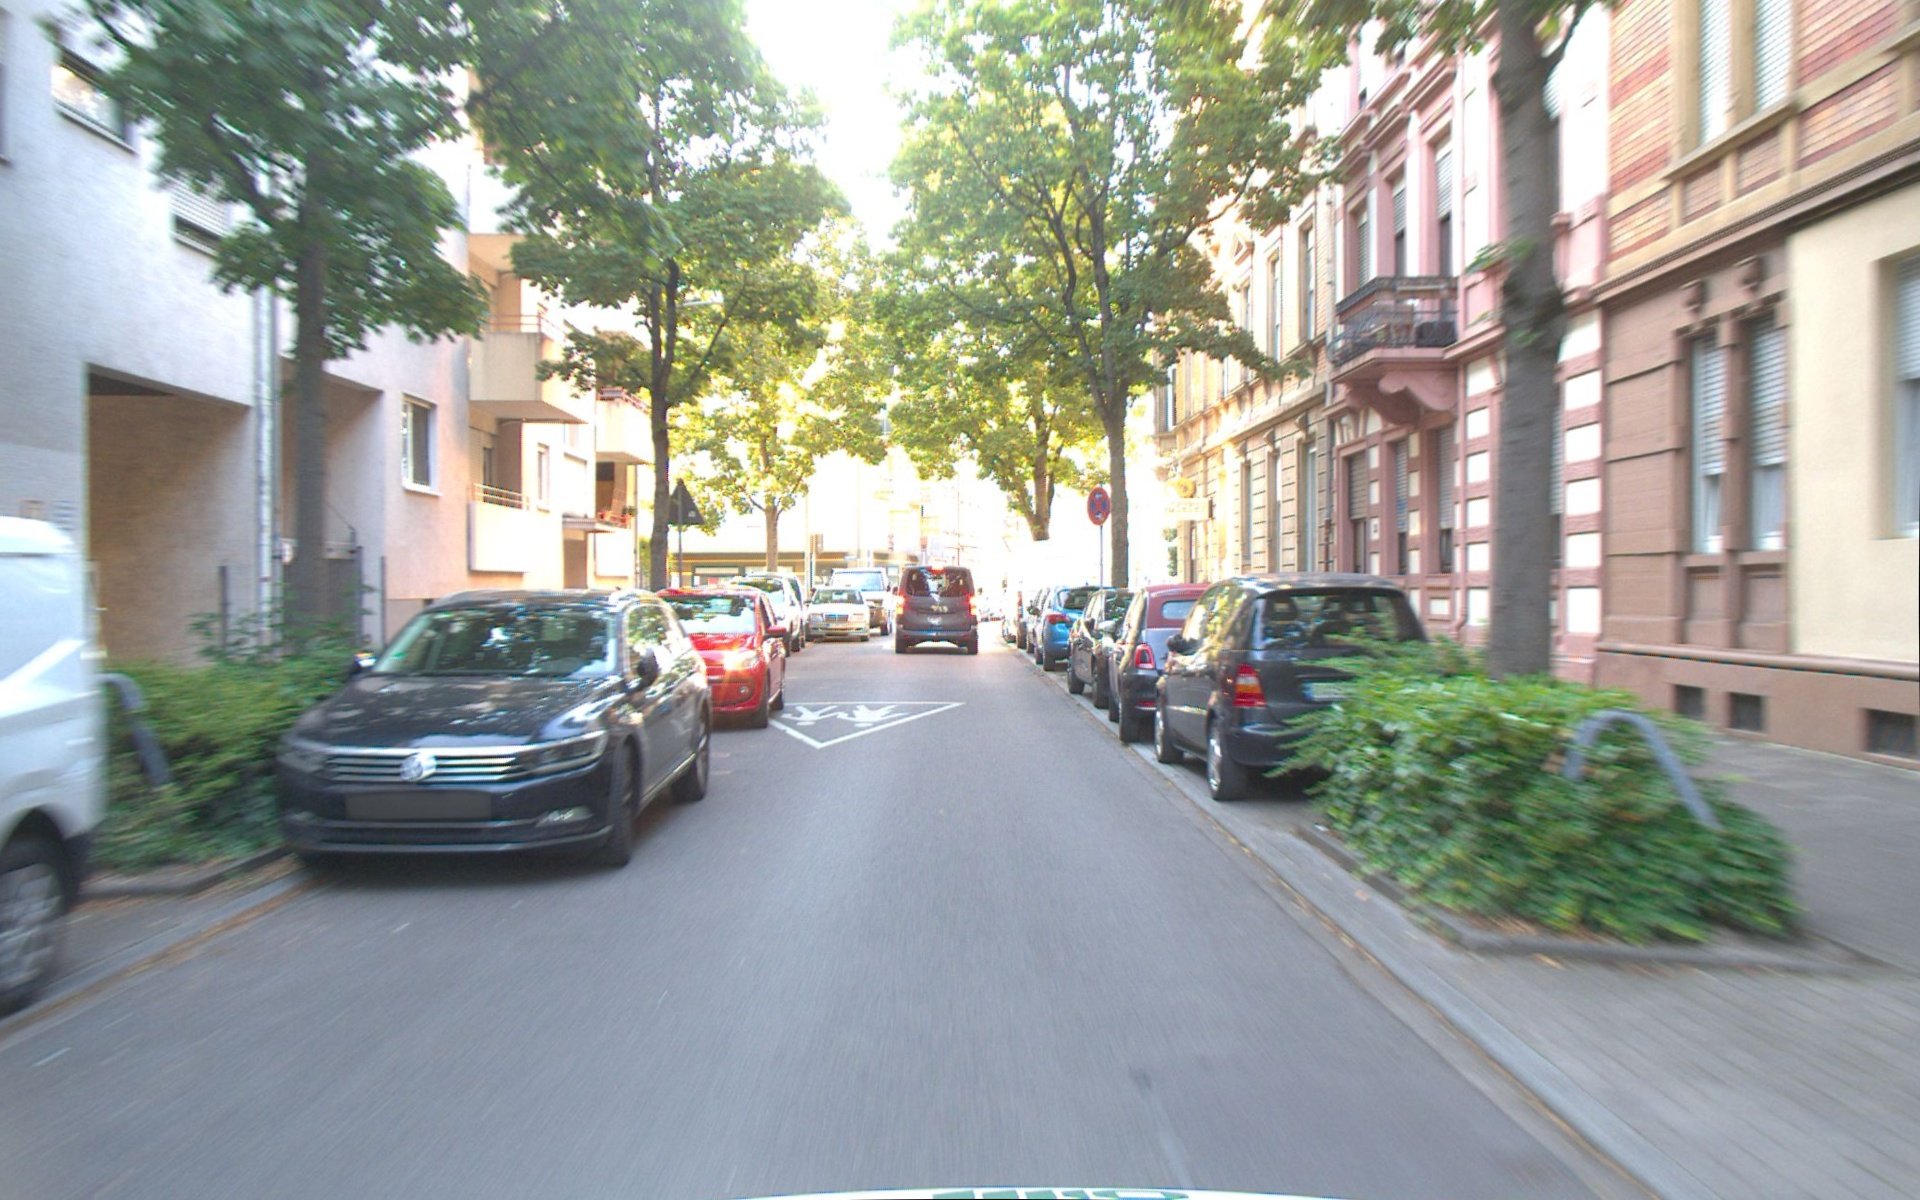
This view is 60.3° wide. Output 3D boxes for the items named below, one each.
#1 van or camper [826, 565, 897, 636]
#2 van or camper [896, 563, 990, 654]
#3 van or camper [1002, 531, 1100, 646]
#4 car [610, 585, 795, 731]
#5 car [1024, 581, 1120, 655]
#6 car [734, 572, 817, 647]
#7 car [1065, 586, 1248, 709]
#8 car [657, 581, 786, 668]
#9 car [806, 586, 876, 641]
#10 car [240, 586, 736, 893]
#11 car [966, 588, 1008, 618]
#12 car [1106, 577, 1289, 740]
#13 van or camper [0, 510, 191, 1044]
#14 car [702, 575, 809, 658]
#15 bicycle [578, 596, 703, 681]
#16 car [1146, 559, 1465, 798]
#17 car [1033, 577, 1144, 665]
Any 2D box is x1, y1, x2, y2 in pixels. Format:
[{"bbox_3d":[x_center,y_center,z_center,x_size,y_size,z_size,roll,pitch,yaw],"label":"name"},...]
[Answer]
[{"bbox_3d":[-2.939,-0.007,49.995,1.824,2.018,4.271,-1,0,1],"label":"van or camper"},{"bbox_3d":[-0.325,0.164,37.548,1.993,1.930,4.271,0,0,1],"label":"van or camper"},{"bbox_3d":[2.185,-0.285,41.094,1.953,2.644,5.422,0,0,-2],"label":"van or camper"},{"bbox_3d":[-2.784,0.572,18.519,1.597,1.455,3.541,-1,0,-2],"label":"car"},{"bbox_3d":[2.345,0.361,35.373,1.715,1.497,3.775,0,0,-2],"label":"car"},{"bbox_3d":[-4.547,0.220,41.138,1.706,1.741,3.374,1,0,-1],"label":"car"},{"bbox_3d":[2.432,0.540,21.347,1.681,1.428,3.811,-1,0,-4],"label":"car"},{"bbox_3d":[-4.462,0.421,31.479,1.703,1.510,3.840,2,0,3],"label":"car"},{"bbox_3d":[-3.194,0.340,44.889,1.706,1.428,3.374,-1,0,-1],"label":"car"},{"bbox_3d":[-2.590,0.659,10.262,1.809,1.477,4.502,0,0,-1],"label":"car"},{"bbox_3d":[1.540,0.145,92.868,1.757,1.606,3.751,0,0,11],"label":"car"},{"bbox_3d":[2.387,0.532,17.349,1.518,1.523,3.611,0,0,2],"label":"car"},{"bbox_3d":[-4.095,0.561,4.574,1.892,1.790,4.464,3,1,-2],"label":"van or camper"},{"bbox_3d":[-4.420,0.316,36.315,1.858,1.665,4.155,1,0,-1],"label":"car"},{"bbox_3d":[-4.777,0.571,24.837,0.595,1.216,1.817,3,1,44],"label":"bicycle"},{"bbox_3d":[2.556,0.511,13.094,1.579,1.586,3.764,-1,0,-3],"label":"car"},{"bbox_3d":[2.281,0.351,30.116,1.714,1.497,3.775,0,0,0],"label":"car"}]
